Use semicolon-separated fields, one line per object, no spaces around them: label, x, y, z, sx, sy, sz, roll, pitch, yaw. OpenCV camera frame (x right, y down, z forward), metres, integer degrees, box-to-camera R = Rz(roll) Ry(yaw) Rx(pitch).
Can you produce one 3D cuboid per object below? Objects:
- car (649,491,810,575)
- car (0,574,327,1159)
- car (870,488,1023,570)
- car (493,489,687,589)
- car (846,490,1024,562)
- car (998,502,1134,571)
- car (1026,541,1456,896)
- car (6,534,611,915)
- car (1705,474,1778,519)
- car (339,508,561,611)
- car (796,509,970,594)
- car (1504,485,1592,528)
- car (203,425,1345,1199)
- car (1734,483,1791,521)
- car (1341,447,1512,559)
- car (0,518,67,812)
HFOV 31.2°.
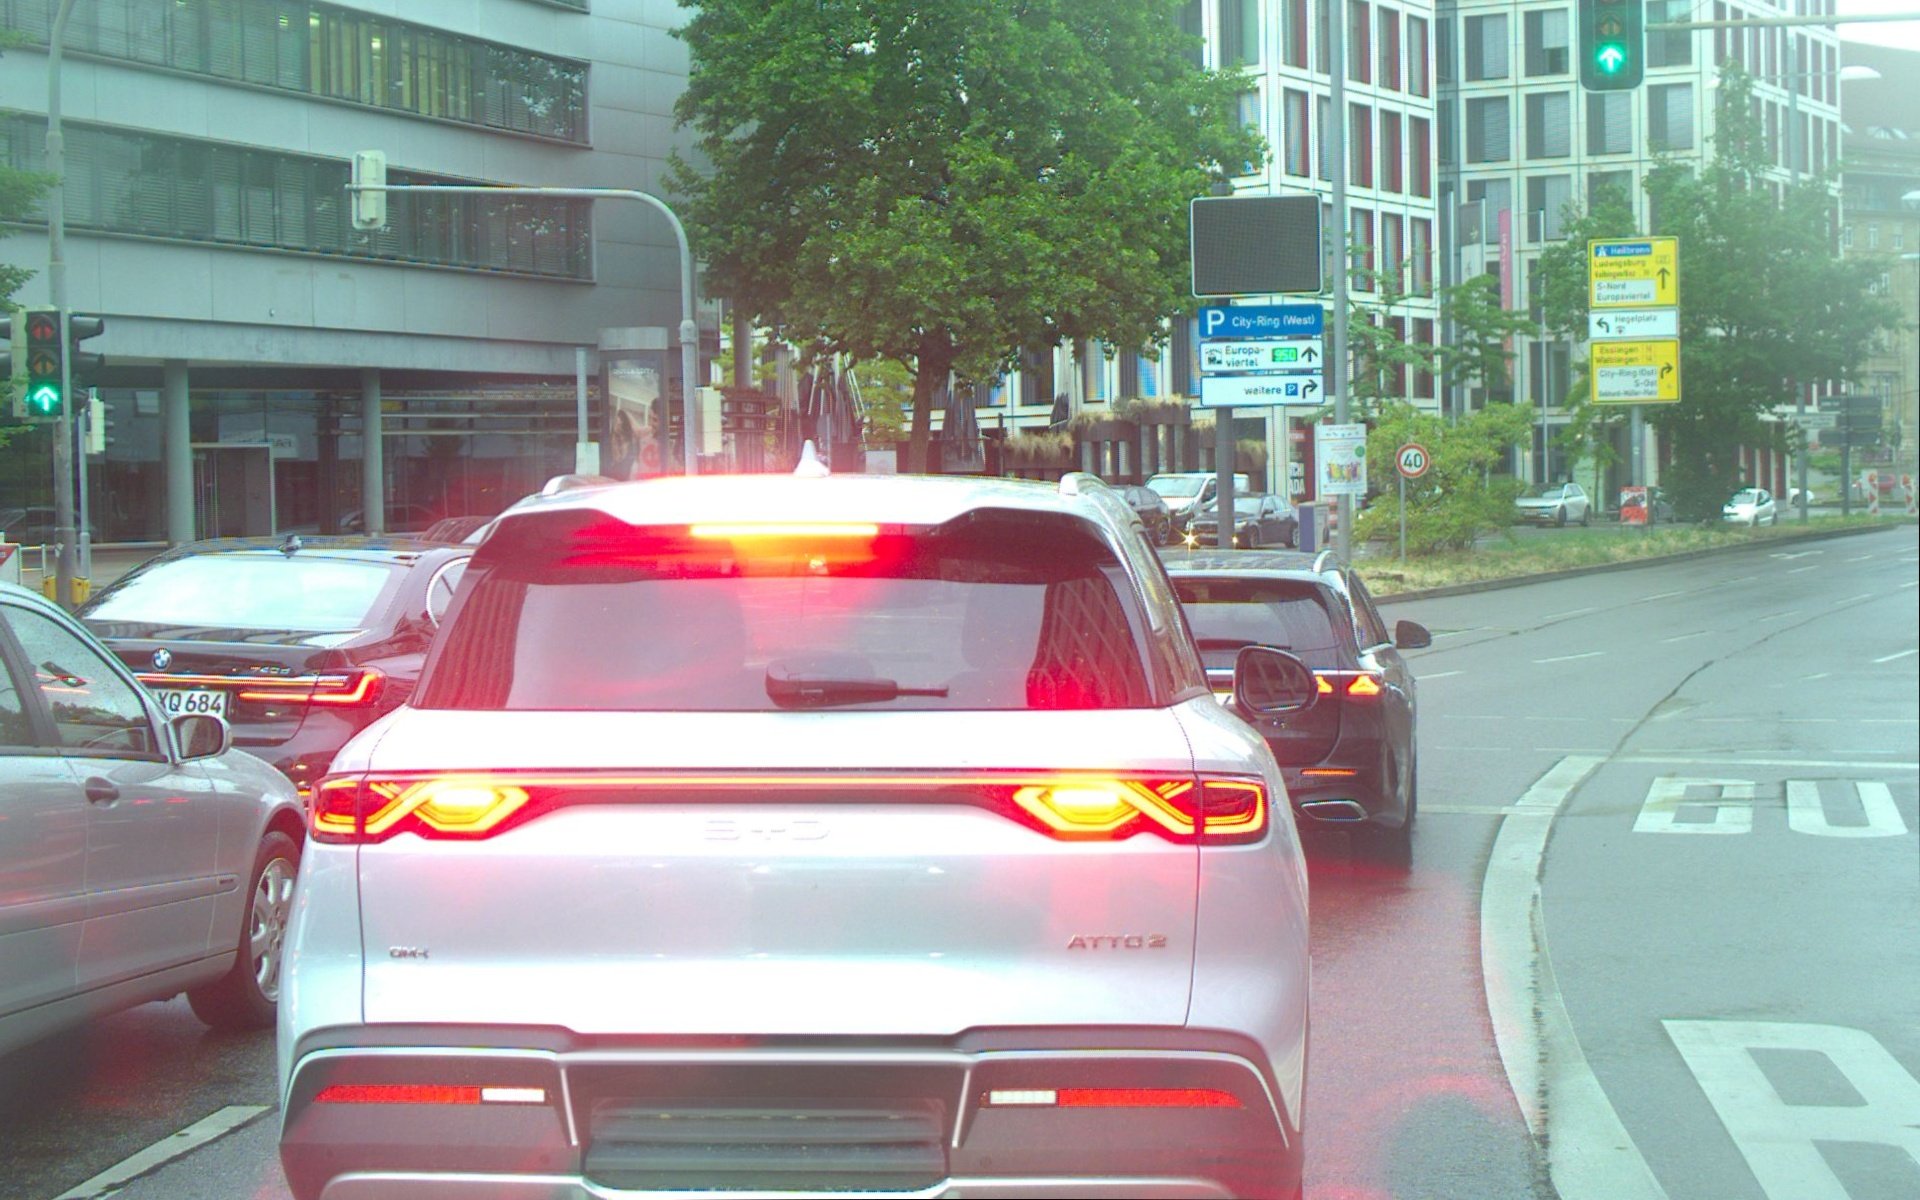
car;-4.464;-1.293;67.097;1.640;1.565;3.714;1;1;23
car;-3.036;0.639;8.906;1.571;1.402;4.108;1;1;7
car;-0.231;-1.414;68.332;1.645;1.575;4.081;1;1;21
car;-5.922;-0.994;55.512;1.645;1.530;4.149;1;1;17
car;-0.492;-1.648;75.276;1.816;1.505;5.189;0;2;25
car;2.548;-1.524;81.376;1.633;1.553;4.588;0;2;23
car;1.475;0.482;16.646;1.694;1.481;3.998;1;1;10
car;-2.787;0.469;15.587;1.571;1.481;3.999;1;1;7
car;25.561;-3.394;112.410;1.633;1.432;3.903;0;2;23
car;-8.563;-0.708;58.021;1.996;1.605;3.996;2;2;20
car;-1.269;-0.809;58.421;1.692;1.380;3.865;1;1;19
car;21.014;-3.354;122.743;1.996;1.483;3.994;0;2;27
car;-0.246;0.552;7.374;1.776;1.673;4.000;1;1;2
car;38.207;-4.638;163.560;1.609;1.735;3.439;1;1;32
car;8.880;-1.803;65.128;1.996;2.007;4.843;1;1;23
car;-5.875;0.327;16.284;1.707;1.481;3.998;1;1;9
